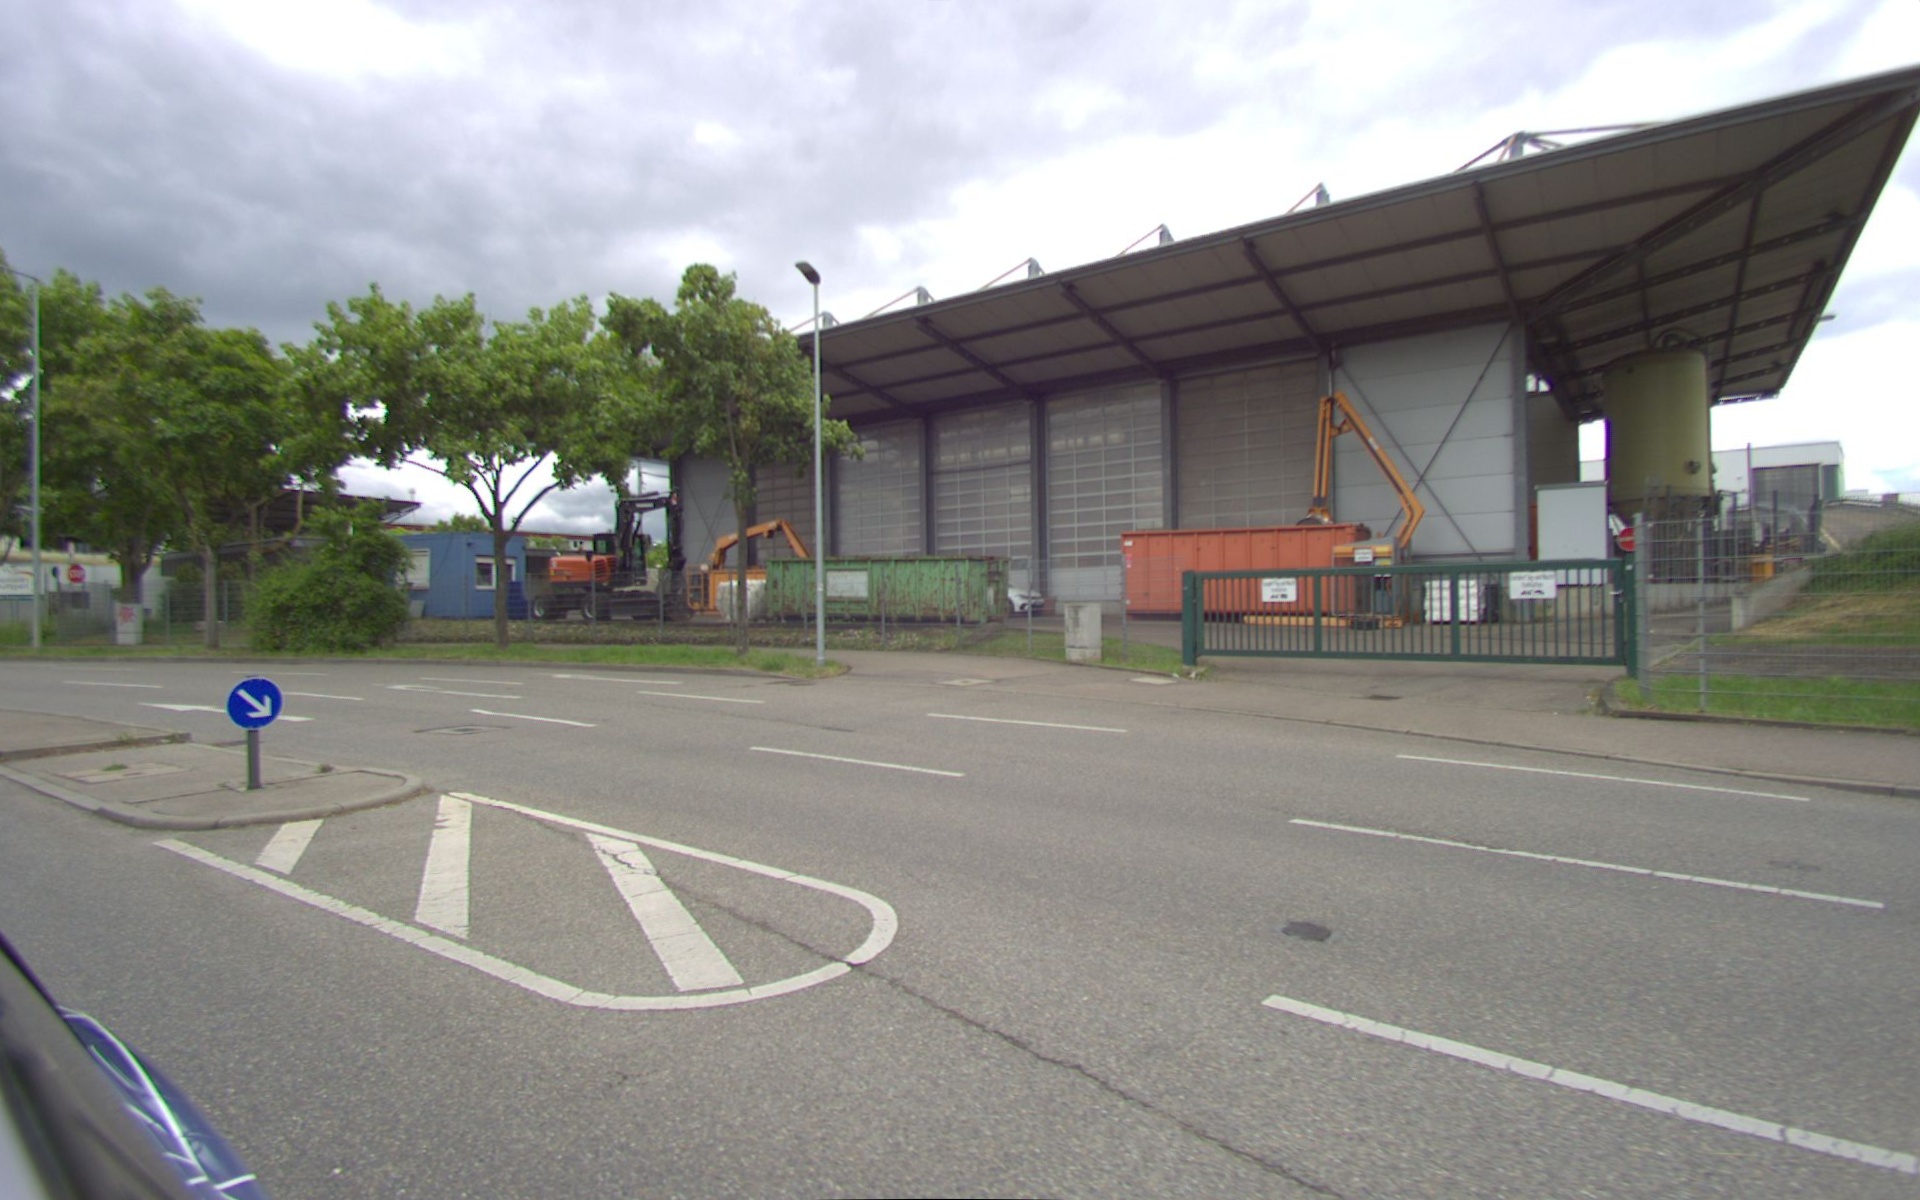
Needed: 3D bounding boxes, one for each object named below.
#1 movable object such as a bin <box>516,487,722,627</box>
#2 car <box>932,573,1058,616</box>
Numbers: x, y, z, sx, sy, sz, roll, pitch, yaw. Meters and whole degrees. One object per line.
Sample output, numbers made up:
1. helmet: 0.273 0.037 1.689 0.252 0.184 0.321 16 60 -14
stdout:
1. movable object such as a bin: -11.272 -1.238 33.299 6.522 4.122 2.708 -2 -1 28
2. car: 1.159 -0.160 34.456 3.991 1.384 1.717 -1 0 36
